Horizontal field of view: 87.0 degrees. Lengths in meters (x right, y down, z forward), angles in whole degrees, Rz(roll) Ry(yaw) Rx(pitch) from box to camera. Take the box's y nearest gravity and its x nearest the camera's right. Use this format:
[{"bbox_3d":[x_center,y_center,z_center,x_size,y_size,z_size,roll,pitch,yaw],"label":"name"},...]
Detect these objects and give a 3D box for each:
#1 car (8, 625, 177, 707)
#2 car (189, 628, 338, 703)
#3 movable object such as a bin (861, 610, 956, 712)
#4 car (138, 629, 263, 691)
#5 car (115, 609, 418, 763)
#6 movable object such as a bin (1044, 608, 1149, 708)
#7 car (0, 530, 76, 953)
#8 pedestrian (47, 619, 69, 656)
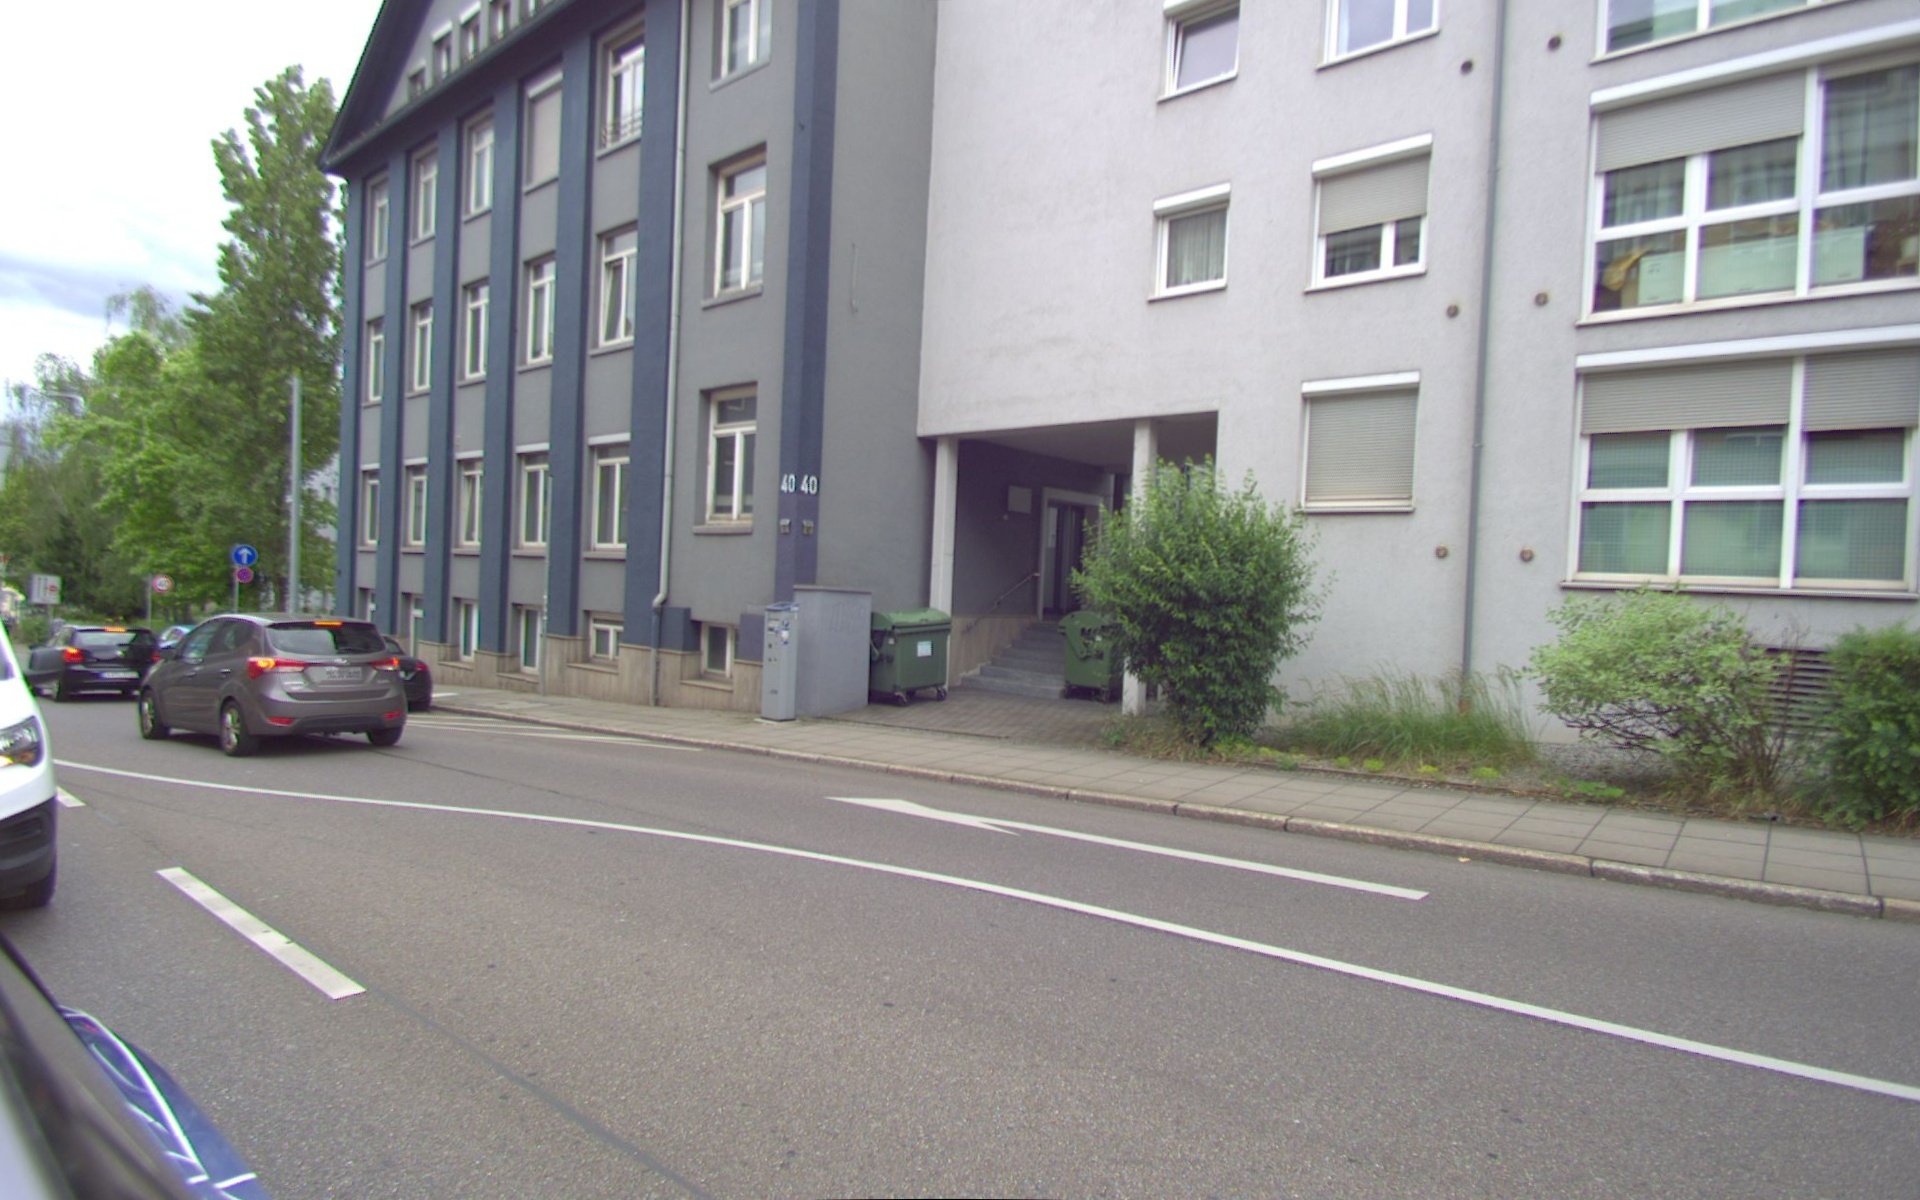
[{"bbox_3d":[-16.689,1.225,19.427,3.788,1.411,1.657,-1,-4,37],"label":"car"},{"bbox_3d":[-15.196,1.379,22.023,3.868,1.485,1.796,-2,-4,42],"label":"car"},{"bbox_3d":[-0.794,0.908,15.702,0.784,1.467,1.251,0,1,44],"label":"movable object such as a bin"},{"bbox_3d":[-19.277,1.472,25.638,3.724,1.465,1.702,-1,-3,40],"label":"car"},{"bbox_3d":[-8.522,0.965,12.357,3.926,1.599,1.689,-1,-4,35],"label":"car"},{"bbox_3d":[2.245,0.925,16.646,1.190,1.489,1.132,5,2,41],"label":"movable object such as a bin"},{"bbox_3d":[-6.420,0.658,5.501,4.937,1.821,1.816,-1,0,42],"label":"car"},{"bbox_3d":[-46.463,1.928,52.132,0.776,1.864,0.736,-2,-1,42],"label":"pedestrian"}]
